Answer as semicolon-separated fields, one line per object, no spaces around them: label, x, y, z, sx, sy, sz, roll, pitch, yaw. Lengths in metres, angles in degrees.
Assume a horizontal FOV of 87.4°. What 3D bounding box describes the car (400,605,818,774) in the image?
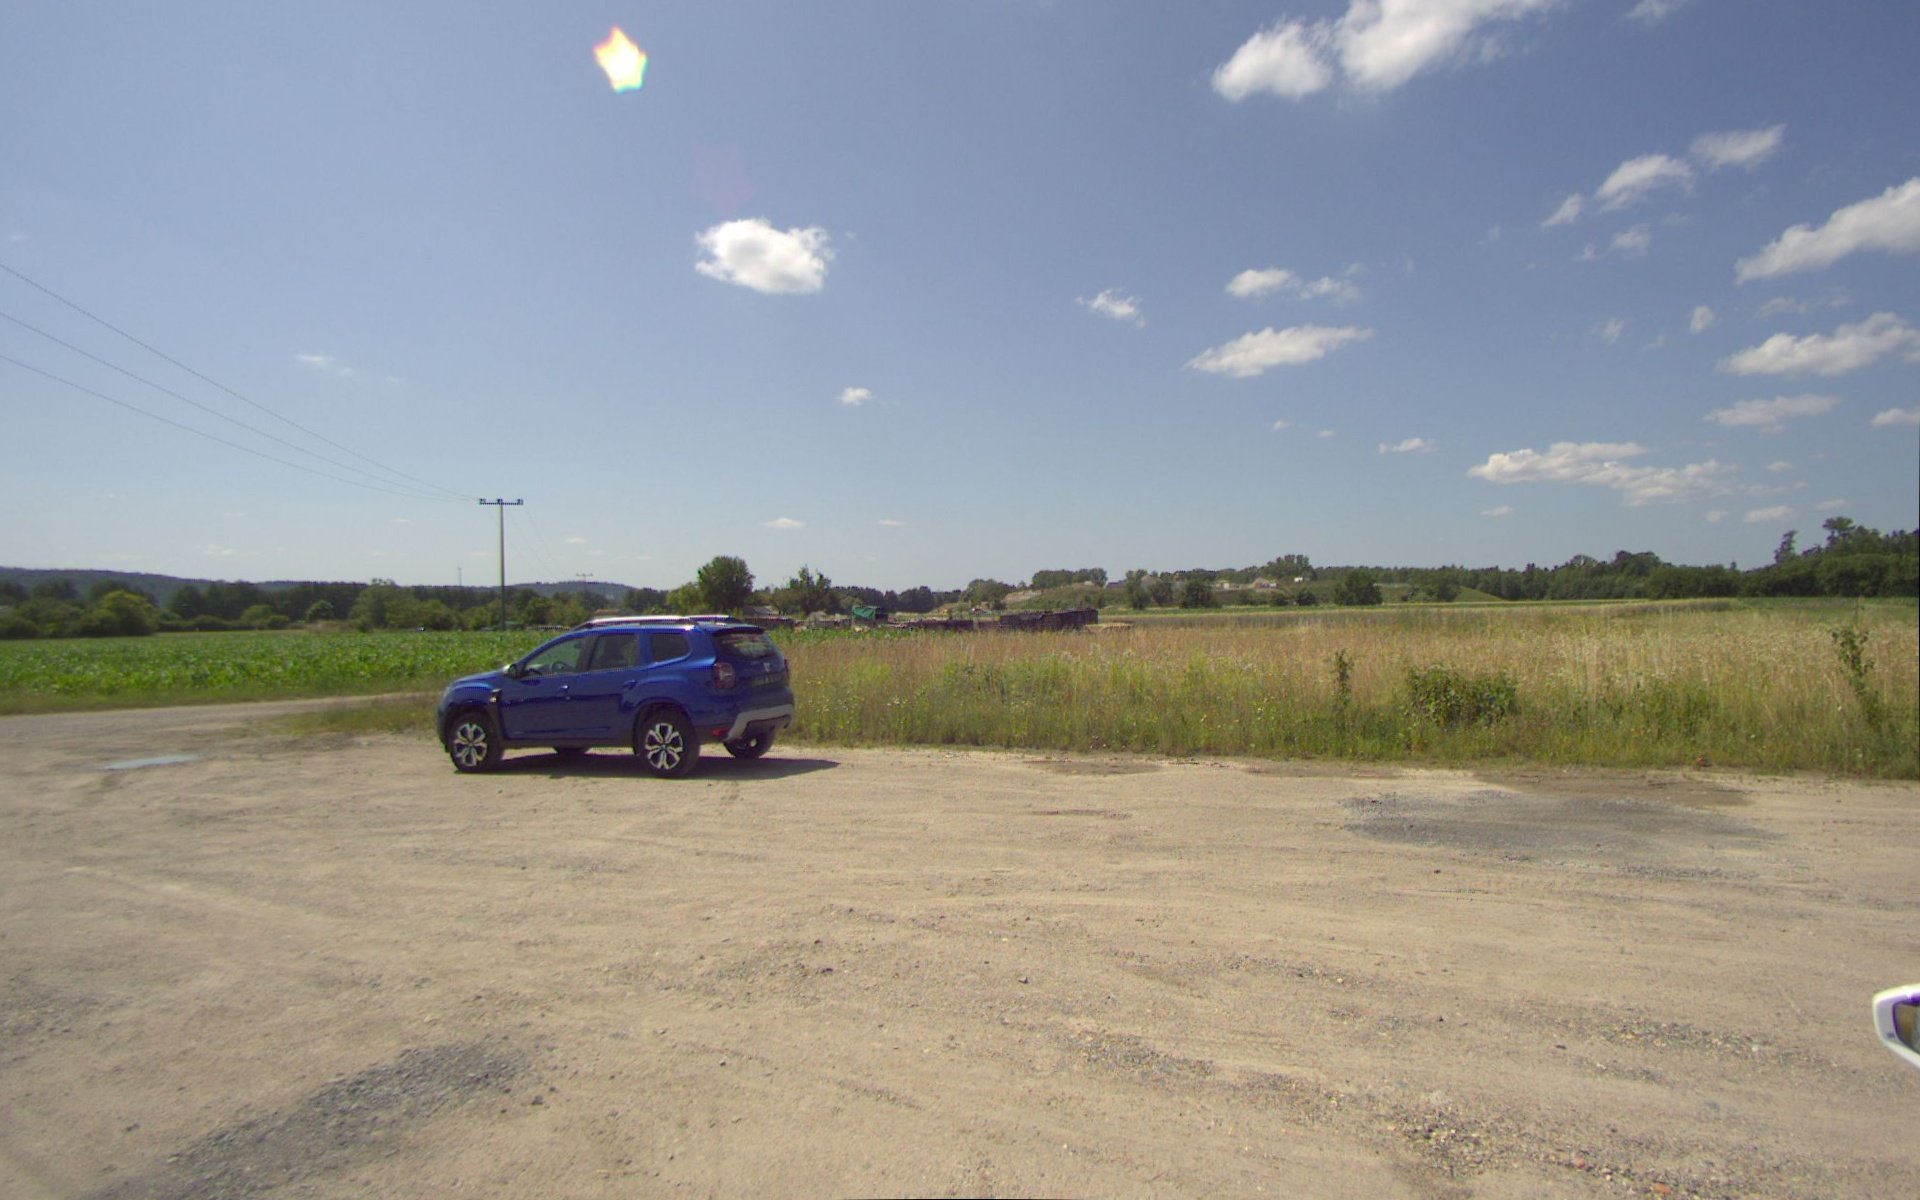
car;-4.052;0.992;11.669;4.371;1.683;1.865;-2;-2;20
